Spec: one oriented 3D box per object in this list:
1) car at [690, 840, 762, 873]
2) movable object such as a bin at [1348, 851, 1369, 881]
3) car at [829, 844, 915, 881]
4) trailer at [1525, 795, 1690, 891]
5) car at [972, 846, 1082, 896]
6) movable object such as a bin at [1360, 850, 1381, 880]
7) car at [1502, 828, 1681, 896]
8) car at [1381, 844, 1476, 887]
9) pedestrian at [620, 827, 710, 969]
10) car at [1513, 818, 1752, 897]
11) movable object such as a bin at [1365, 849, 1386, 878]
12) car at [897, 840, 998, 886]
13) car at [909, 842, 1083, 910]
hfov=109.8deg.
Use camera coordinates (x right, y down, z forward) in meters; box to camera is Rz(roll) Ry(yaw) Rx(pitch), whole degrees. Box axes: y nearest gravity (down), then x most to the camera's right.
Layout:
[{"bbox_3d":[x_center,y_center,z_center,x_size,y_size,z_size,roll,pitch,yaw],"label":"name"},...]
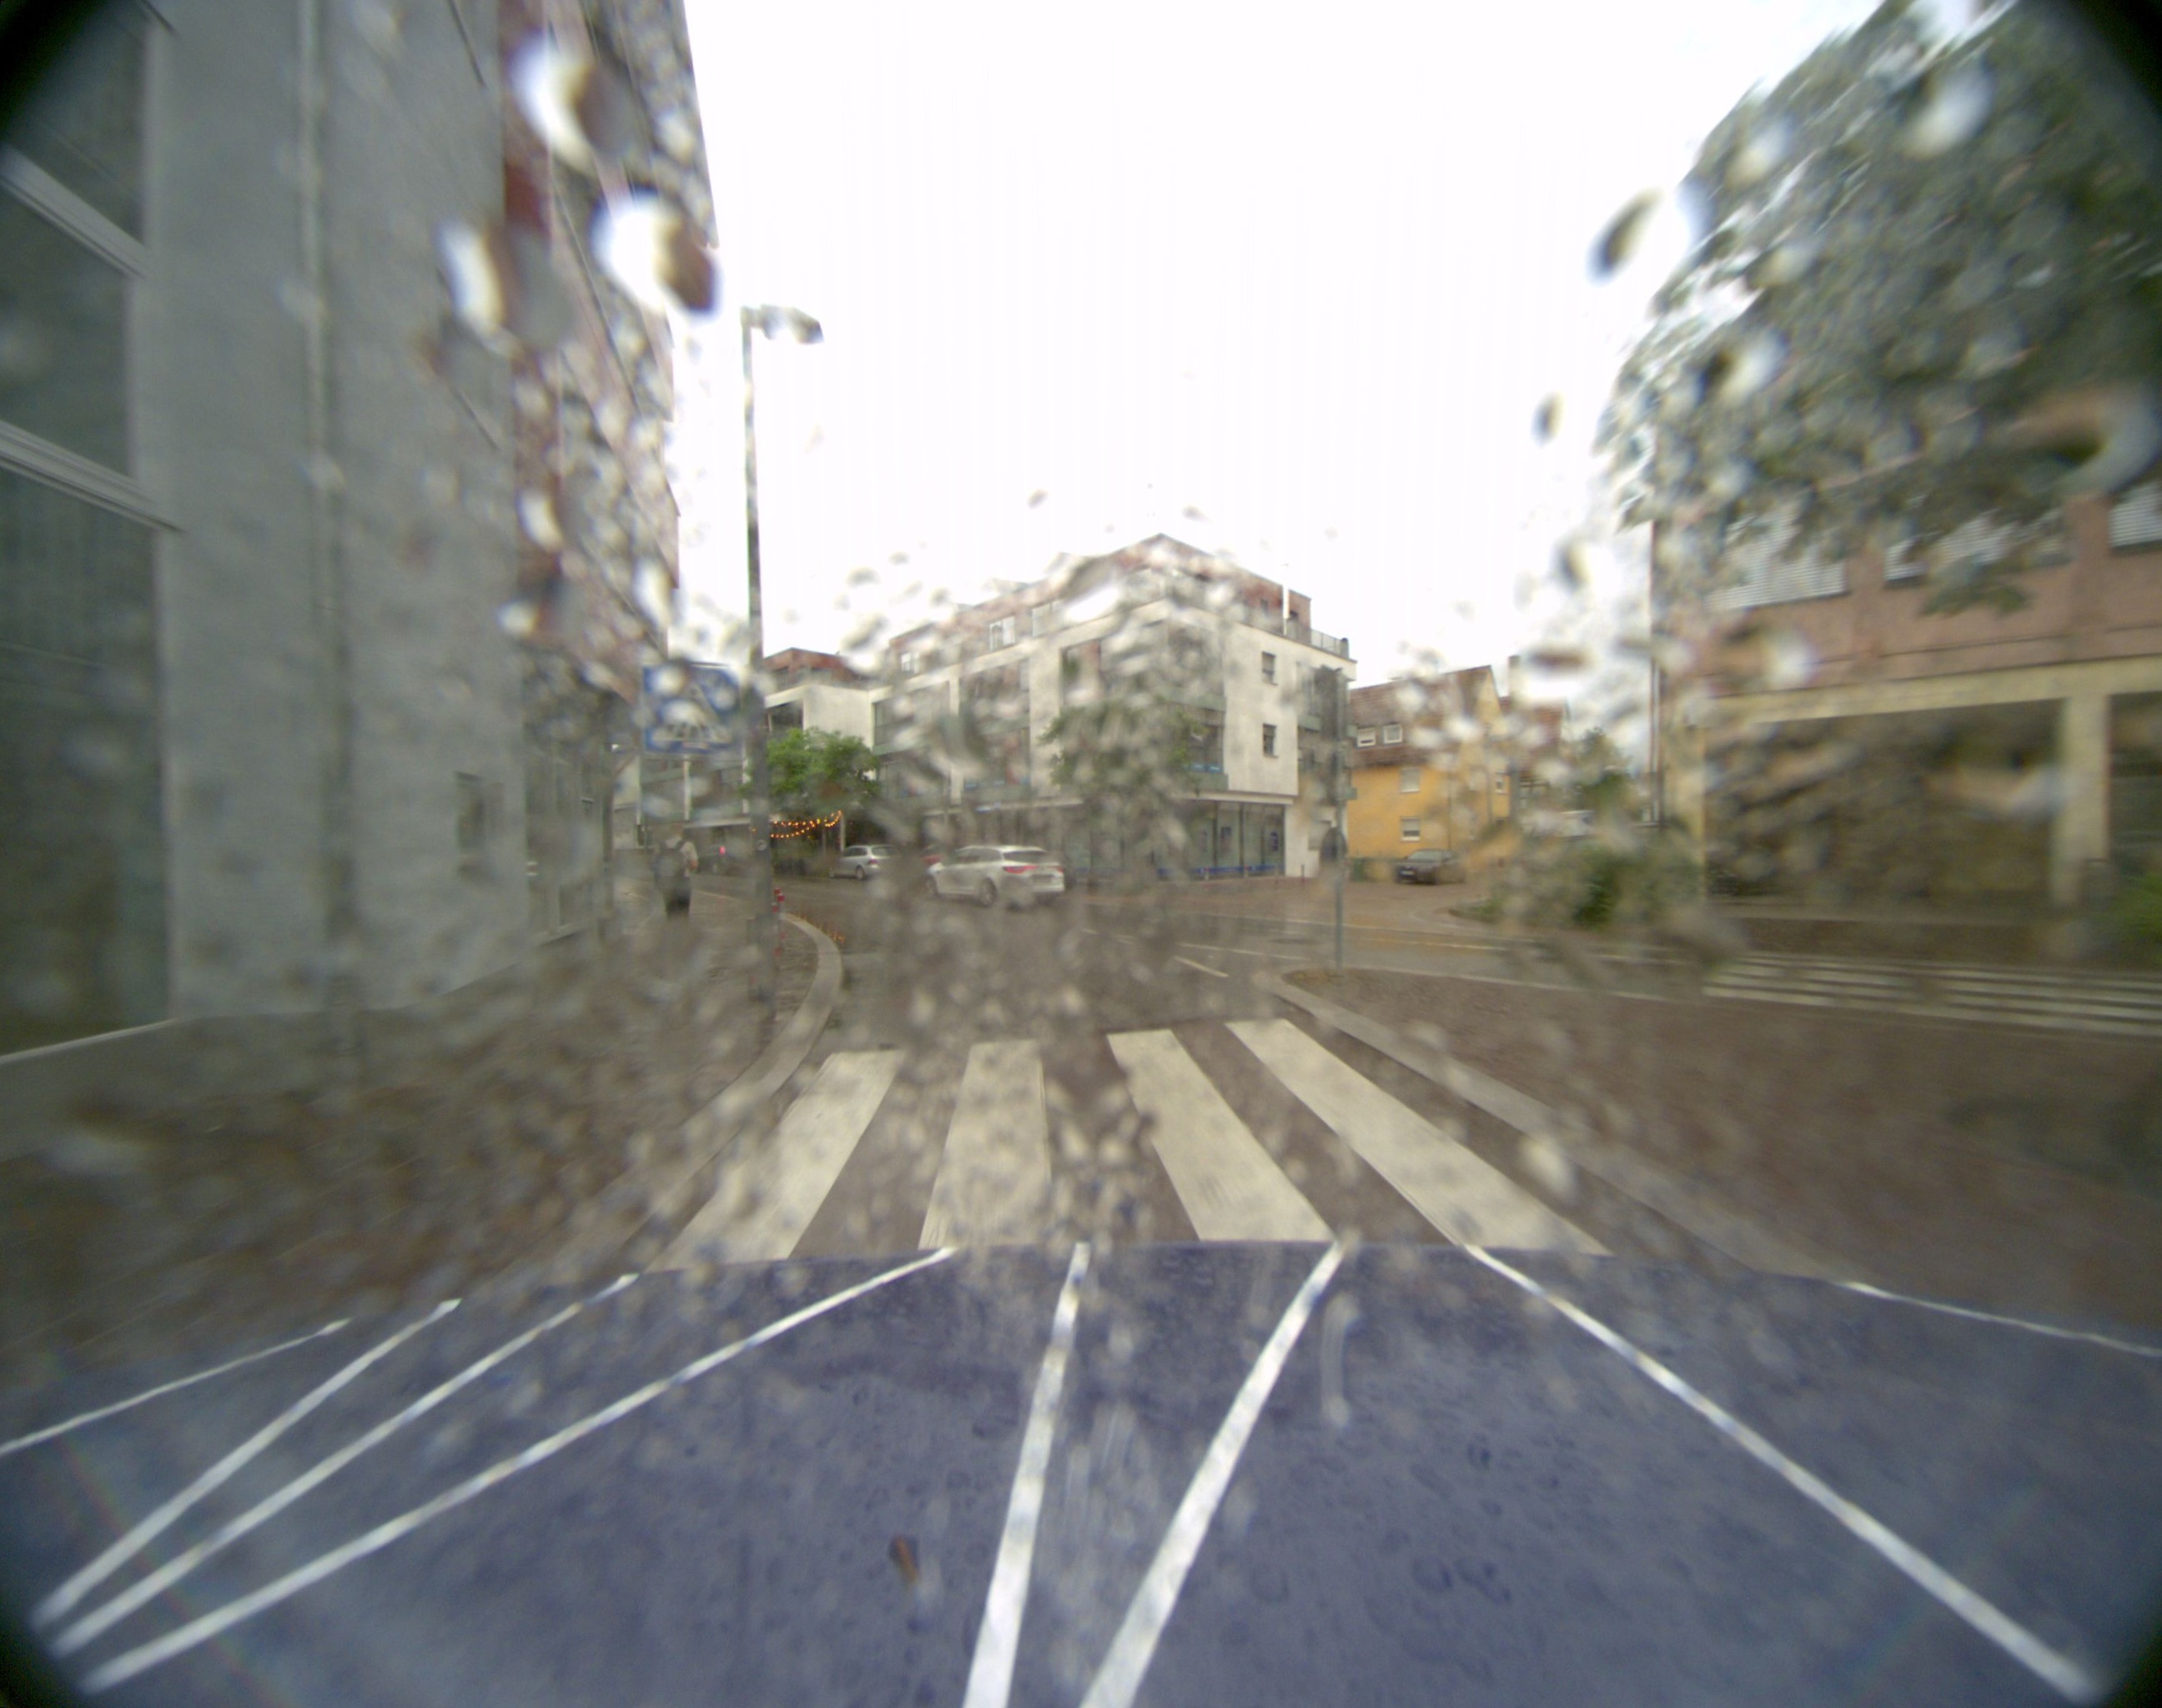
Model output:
[{"bbox_3d":[-17.145,0.076,36.594,1.789,1.457,4.500,-2,2,-43],"label":"car"},{"bbox_3d":[11.517,0.495,31.582,0.524,1.226,0.630,-4,4,-42],"label":"movable object such as a bin"},{"bbox_3d":[-8.907,0.318,32.225,3.850,1.387,1.730,0,3,44],"label":"car"},{"bbox_3d":[12.824,-0.204,18.572,3.085,2.075,1.840,-4,-2,38],"label":"trailer"},{"bbox_3d":[-1.788,0.486,24.453,1.683,1.428,3.575,-4,3,-40],"label":"car"},{"bbox_3d":[12.272,0.451,32.222,0.524,1.226,0.630,-4,4,-42],"label":"movable object such as a bin"},{"bbox_3d":[14.365,0.256,21.474,3.990,1.661,1.840,-4,-2,38],"label":"car"},{"bbox_3d":[14.750,0.426,32.139,4.552,1.500,1.994,-4,4,-42],"label":"car"},{"bbox_3d":[-5.631,0.542,10.366,0.823,1.796,1.144,-3,3,-20],"label":"pedestrian"},{"bbox_3d":[11.748,0.038,16.418,3.988,1.500,1.839,0,3,38],"label":"car"},{"bbox_3d":[12.637,0.407,32.609,0.524,1.226,0.630,-4,4,-42],"label":"movable object such as a bin"},{"bbox_3d":[-5.049,0.293,28.495,1.807,1.546,3.910,-4,3,-44],"label":"car"},{"bbox_3d":[-2.276,0.454,19.113,1.928,1.483,4.849,-2,1,-41],"label":"car"}]
